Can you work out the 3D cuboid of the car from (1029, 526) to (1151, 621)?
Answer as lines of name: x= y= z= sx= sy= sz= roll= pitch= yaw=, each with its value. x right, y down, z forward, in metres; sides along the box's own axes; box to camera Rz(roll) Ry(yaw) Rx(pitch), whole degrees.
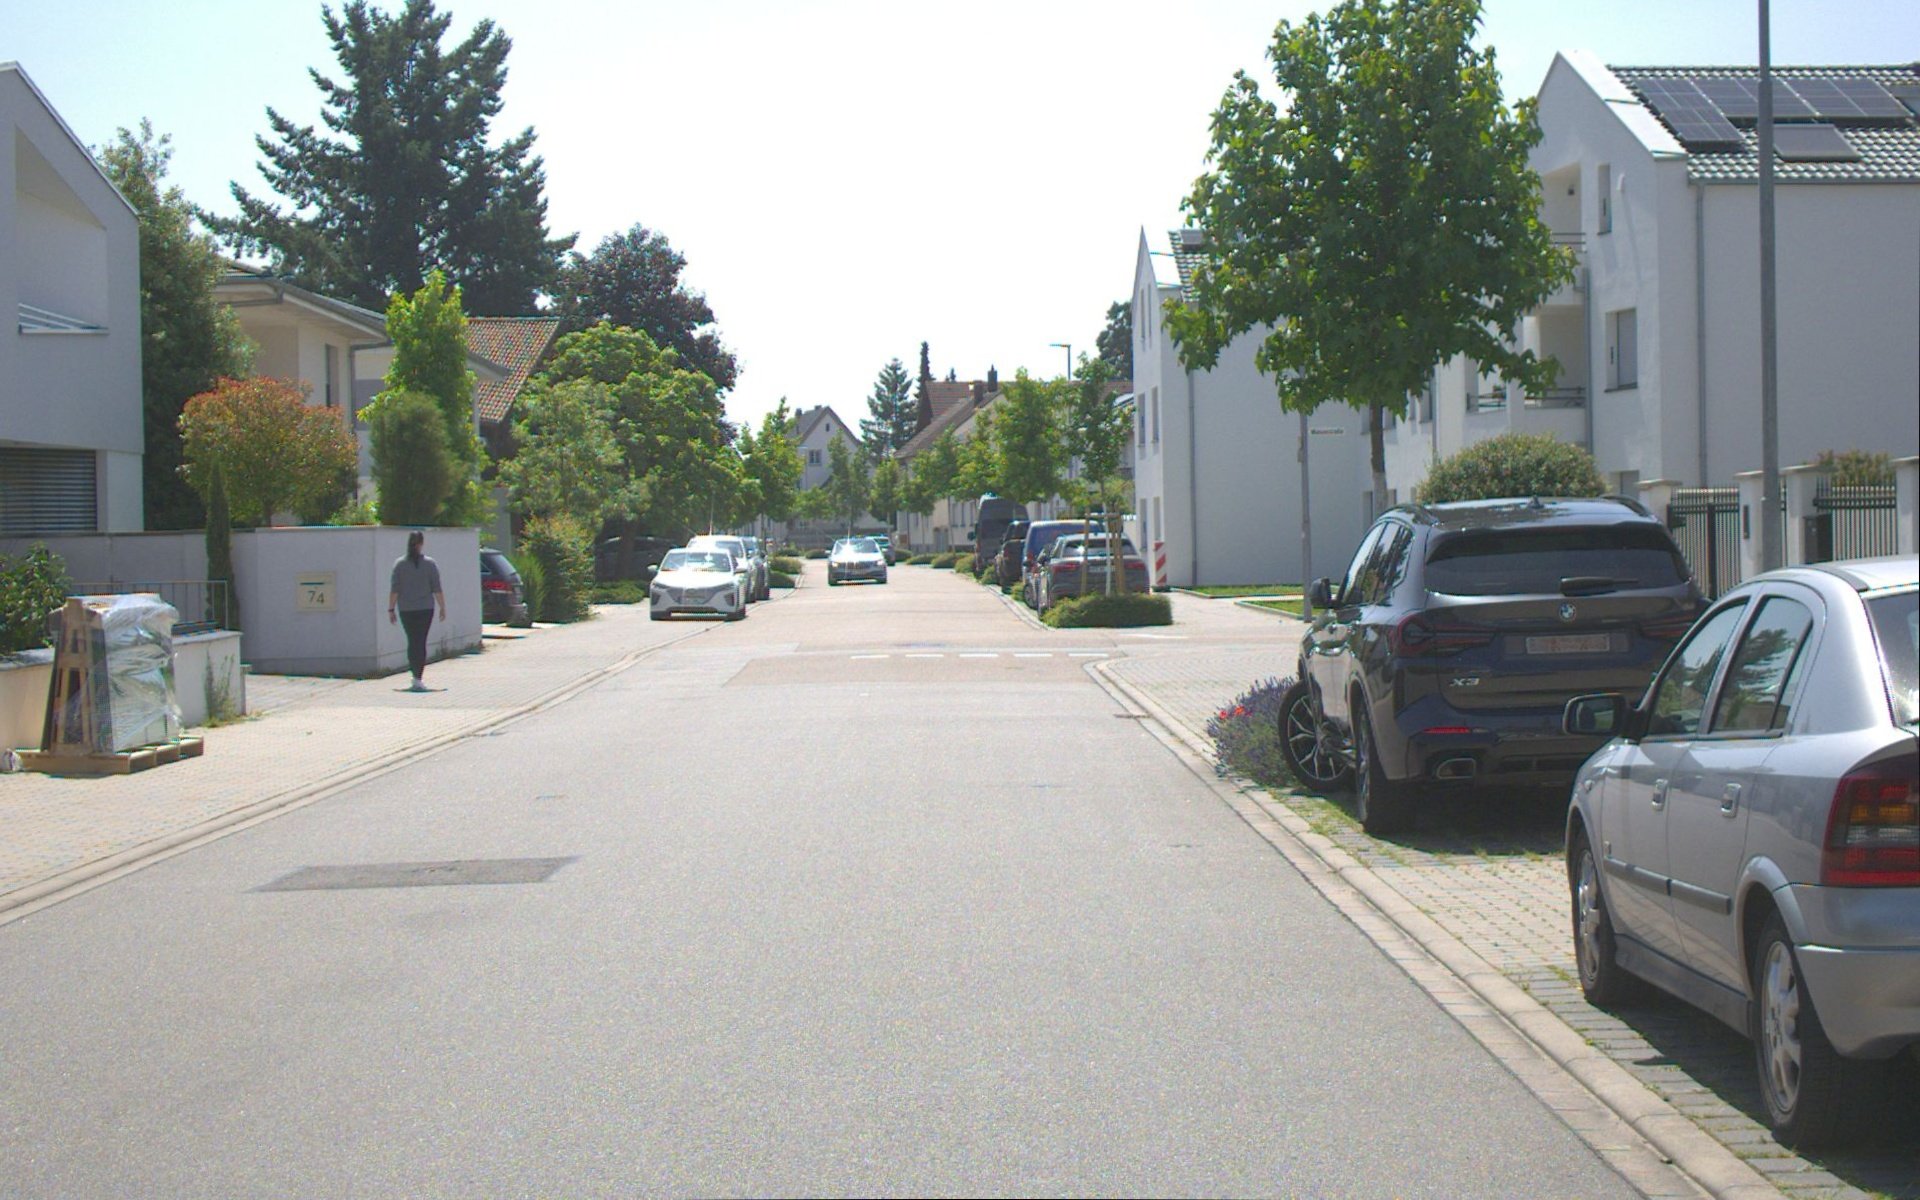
car: x=2.322 y=-0.506 z=62.292 sx=1.773 sy=1.590 sz=4.280 roll=-3 pitch=1 yaw=-3

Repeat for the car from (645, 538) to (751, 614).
car: x=-5.377 y=-0.524 z=70.922 sx=1.852 sy=1.483 sz=4.385 roll=-1 pitch=1 yaw=0

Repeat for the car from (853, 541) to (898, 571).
car: x=-4.146 y=-2.187 z=169.074 sx=1.993 sy=1.425 sz=4.000 roll=-1 pitch=1 yaw=1

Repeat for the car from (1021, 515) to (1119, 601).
car: x=2.499 y=-0.971 z=78.989 sx=2.099 sy=1.875 sz=4.843 roll=-1 pitch=1 yaw=0

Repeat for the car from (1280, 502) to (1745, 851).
car: x=2.876 y=0.308 z=18.862 sx=1.814 sy=1.650 sz=4.564 roll=-1 pitch=2 yaw=0

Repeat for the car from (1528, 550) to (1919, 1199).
car: x=2.857 y=0.587 z=9.742 sx=1.814 sy=1.415 sz=4.093 roll=-1 pitch=1 yaw=0

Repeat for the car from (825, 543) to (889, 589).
car: x=-3.391 y=-1.140 z=114.162 sx=1.853 sy=1.473 sz=4.700 roll=-1 pitch=1 yaw=1

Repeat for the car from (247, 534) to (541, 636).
car: x=-9.290 y=-0.255 z=56.632 sx=4.429 sy=1.468 sz=1.850 roll=2 pitch=1 yaw=4

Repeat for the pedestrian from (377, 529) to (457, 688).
pedestrian: x=-6.034 y=0.085 z=38.251 sx=0.714 sy=1.741 sz=0.961 roll=-1 pitch=1 yaw=0

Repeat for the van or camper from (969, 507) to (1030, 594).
van or camper: x=1.344 y=-1.717 z=118.342 sx=1.993 sy=2.931 sz=4.000 roll=0 pitch=1 yaw=-1

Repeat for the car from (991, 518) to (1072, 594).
car: x=1.913 y=-1.206 z=93.414 sx=1.993 sy=1.940 sz=5.215 roll=-2 pitch=1 yaw=0

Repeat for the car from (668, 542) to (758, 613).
car: x=-6.141 y=-0.580 z=85.886 sx=1.927 sy=1.681 sz=4.498 roll=-1 pitch=1 yaw=0
